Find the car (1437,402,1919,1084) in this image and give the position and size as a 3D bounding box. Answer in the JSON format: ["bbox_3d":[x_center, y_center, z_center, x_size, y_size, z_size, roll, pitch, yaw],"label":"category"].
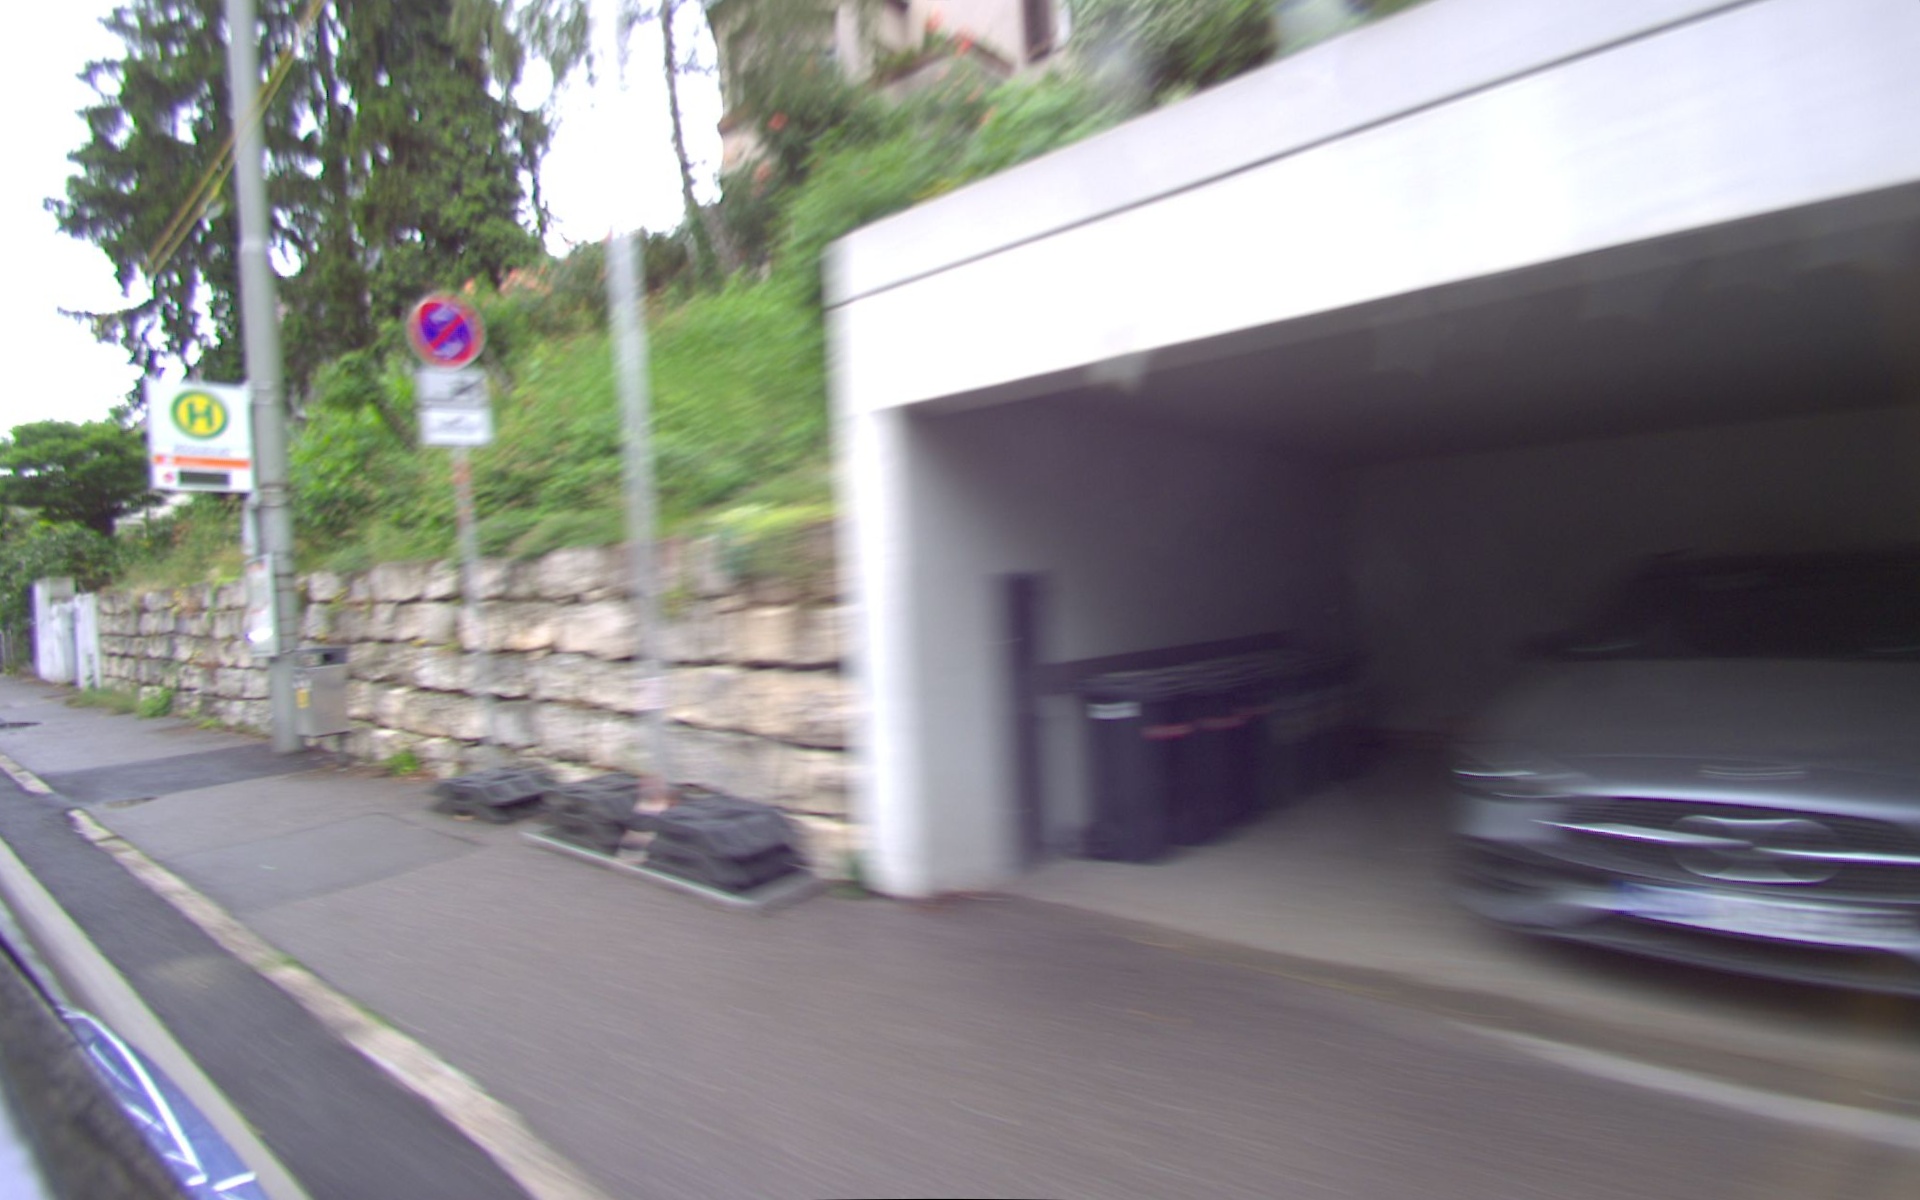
[{"bbox_3d":[3.752,0.226,4.235,2.109,1.718,4.357,-1,3,40],"label":"car"}]

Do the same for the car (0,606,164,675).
[{"bbox_3d":[-24.014,1.087,27.036,3.942,1.536,1.788,-3,3,-2],"label":"car"}]

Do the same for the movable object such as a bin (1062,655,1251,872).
[{"bbox_3d":[0.996,0.776,5.101,0.656,0.910,0.676,-1,3,41],"label":"movable object such as a bin"}]

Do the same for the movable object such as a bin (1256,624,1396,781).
[{"bbox_3d":[2.442,0.646,6.739,0.656,0.910,0.676,-1,3,41],"label":"movable object such as a bin"}]

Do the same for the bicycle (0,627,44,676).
[{"bbox_3d":[-23.771,1.296,24.997,1.597,1.139,0.444,-5,3,-36],"label":"bicycle"}]

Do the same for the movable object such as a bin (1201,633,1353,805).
[{"bbox_3d":[1.949,0.690,6.206,0.656,0.910,0.676,-1,3,41],"label":"movable object such as a bin"}]

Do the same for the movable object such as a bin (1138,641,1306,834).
[{"bbox_3d":[1.465,0.723,5.639,0.656,0.910,0.676,-1,3,41],"label":"movable object such as a bin"}]
